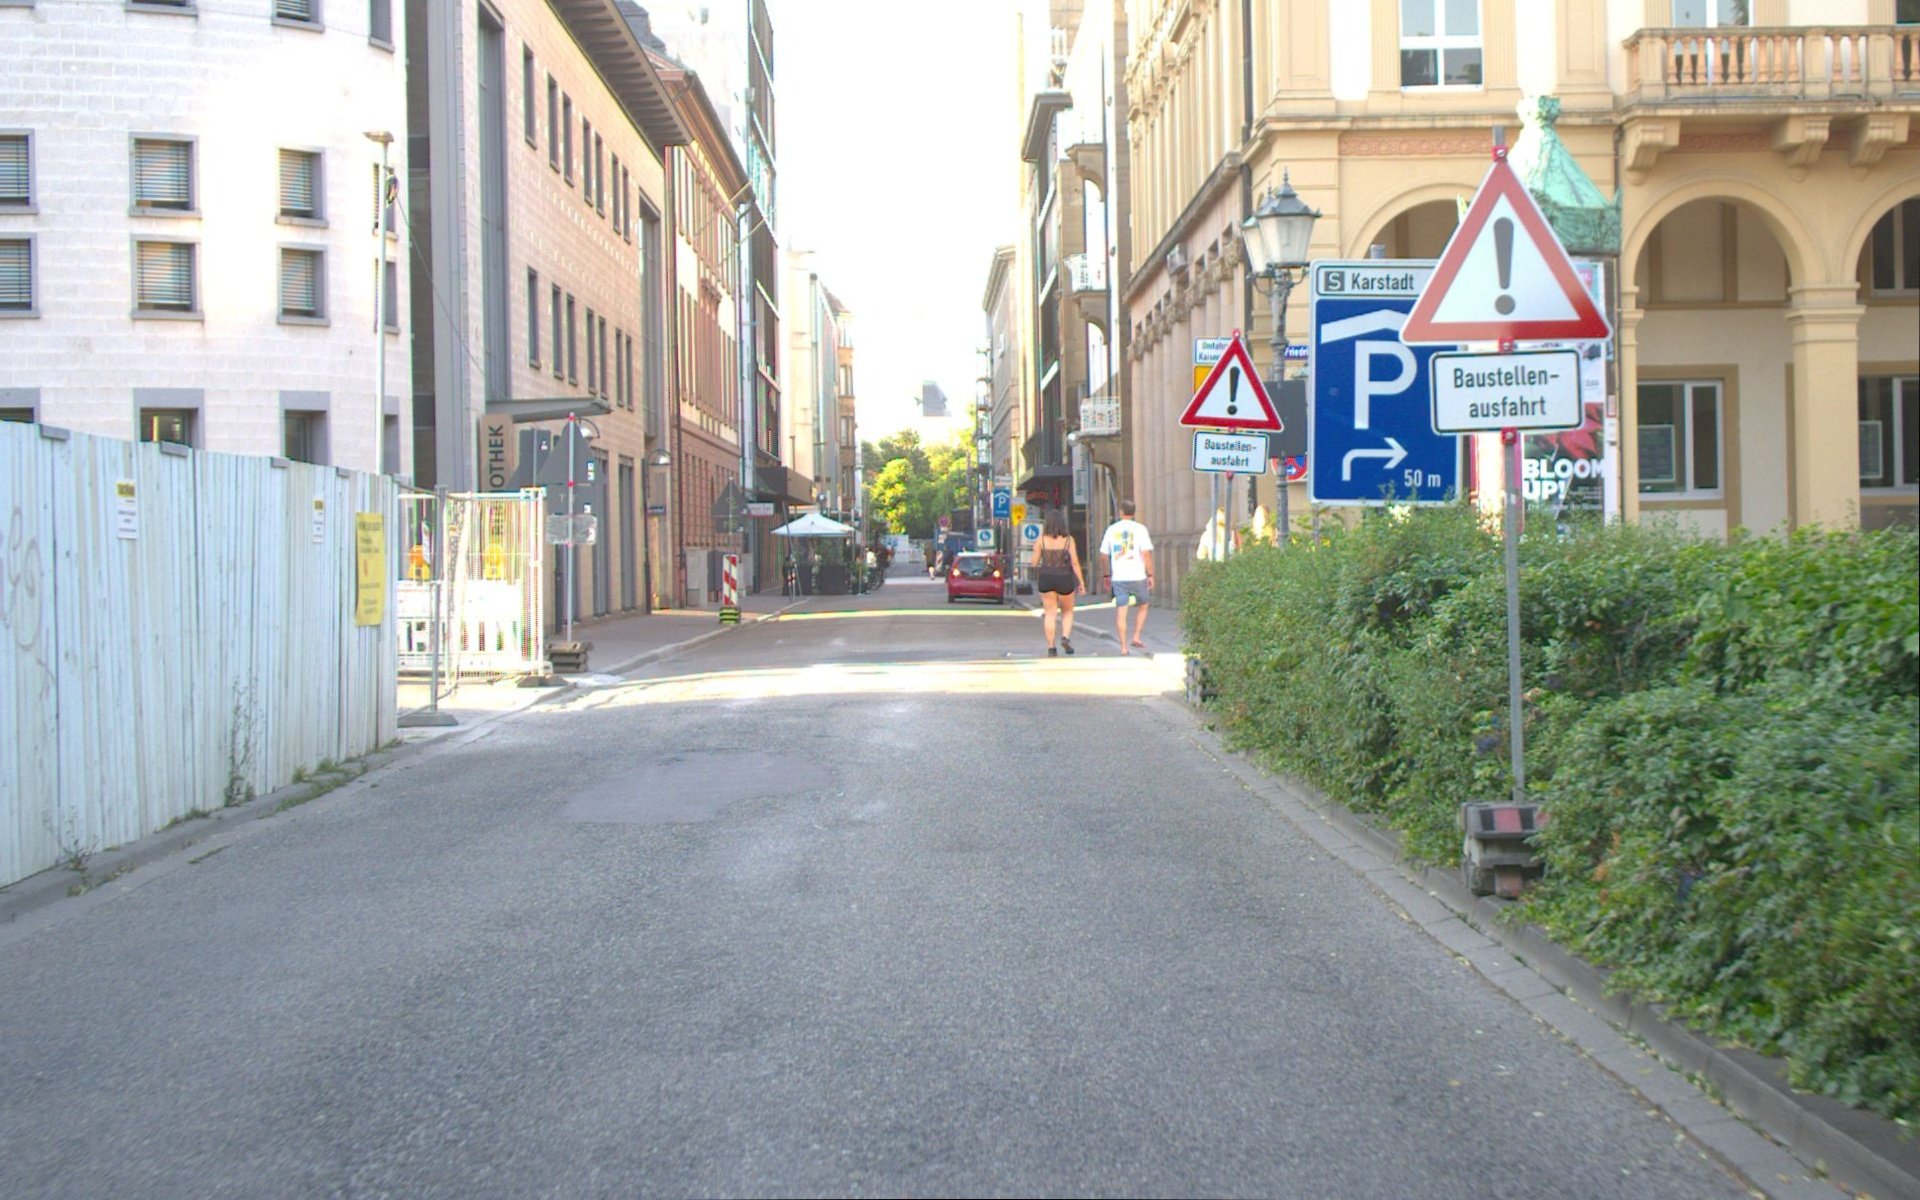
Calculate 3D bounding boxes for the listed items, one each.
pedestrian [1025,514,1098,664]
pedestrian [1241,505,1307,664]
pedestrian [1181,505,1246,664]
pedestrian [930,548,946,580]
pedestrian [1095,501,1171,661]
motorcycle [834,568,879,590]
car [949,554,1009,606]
[{"bbox_3d":[1.202,-0.134,40.788,0.775,1.740,0.875,-1,0,-1],"label":"pedestrian"},{"bbox_3d":[3.614,-0.183,39.603,0.636,1.797,0.772,-1,0,-1],"label":"pedestrian"},{"bbox_3d":[2.919,-0.177,39.587,0.636,1.797,0.772,-1,0,-1],"label":"pedestrian"},{"bbox_3d":[-1.130,-1.854,176.911,0.804,1.667,0.888,-1,0,2],"label":"pedestrian"},{"bbox_3d":[2.061,-0.226,41.025,0.812,1.869,0.875,-1,0,-1],"label":"pedestrian"},{"bbox_3d":[-4.204,-0.862,139.480,1.801,0.872,0.560,-1,0,-4],"label":"motorcycle"},{"bbox_3d":[0.545,-0.585,99.436,1.649,1.422,3.535,2,0,0],"label":"car"}]
